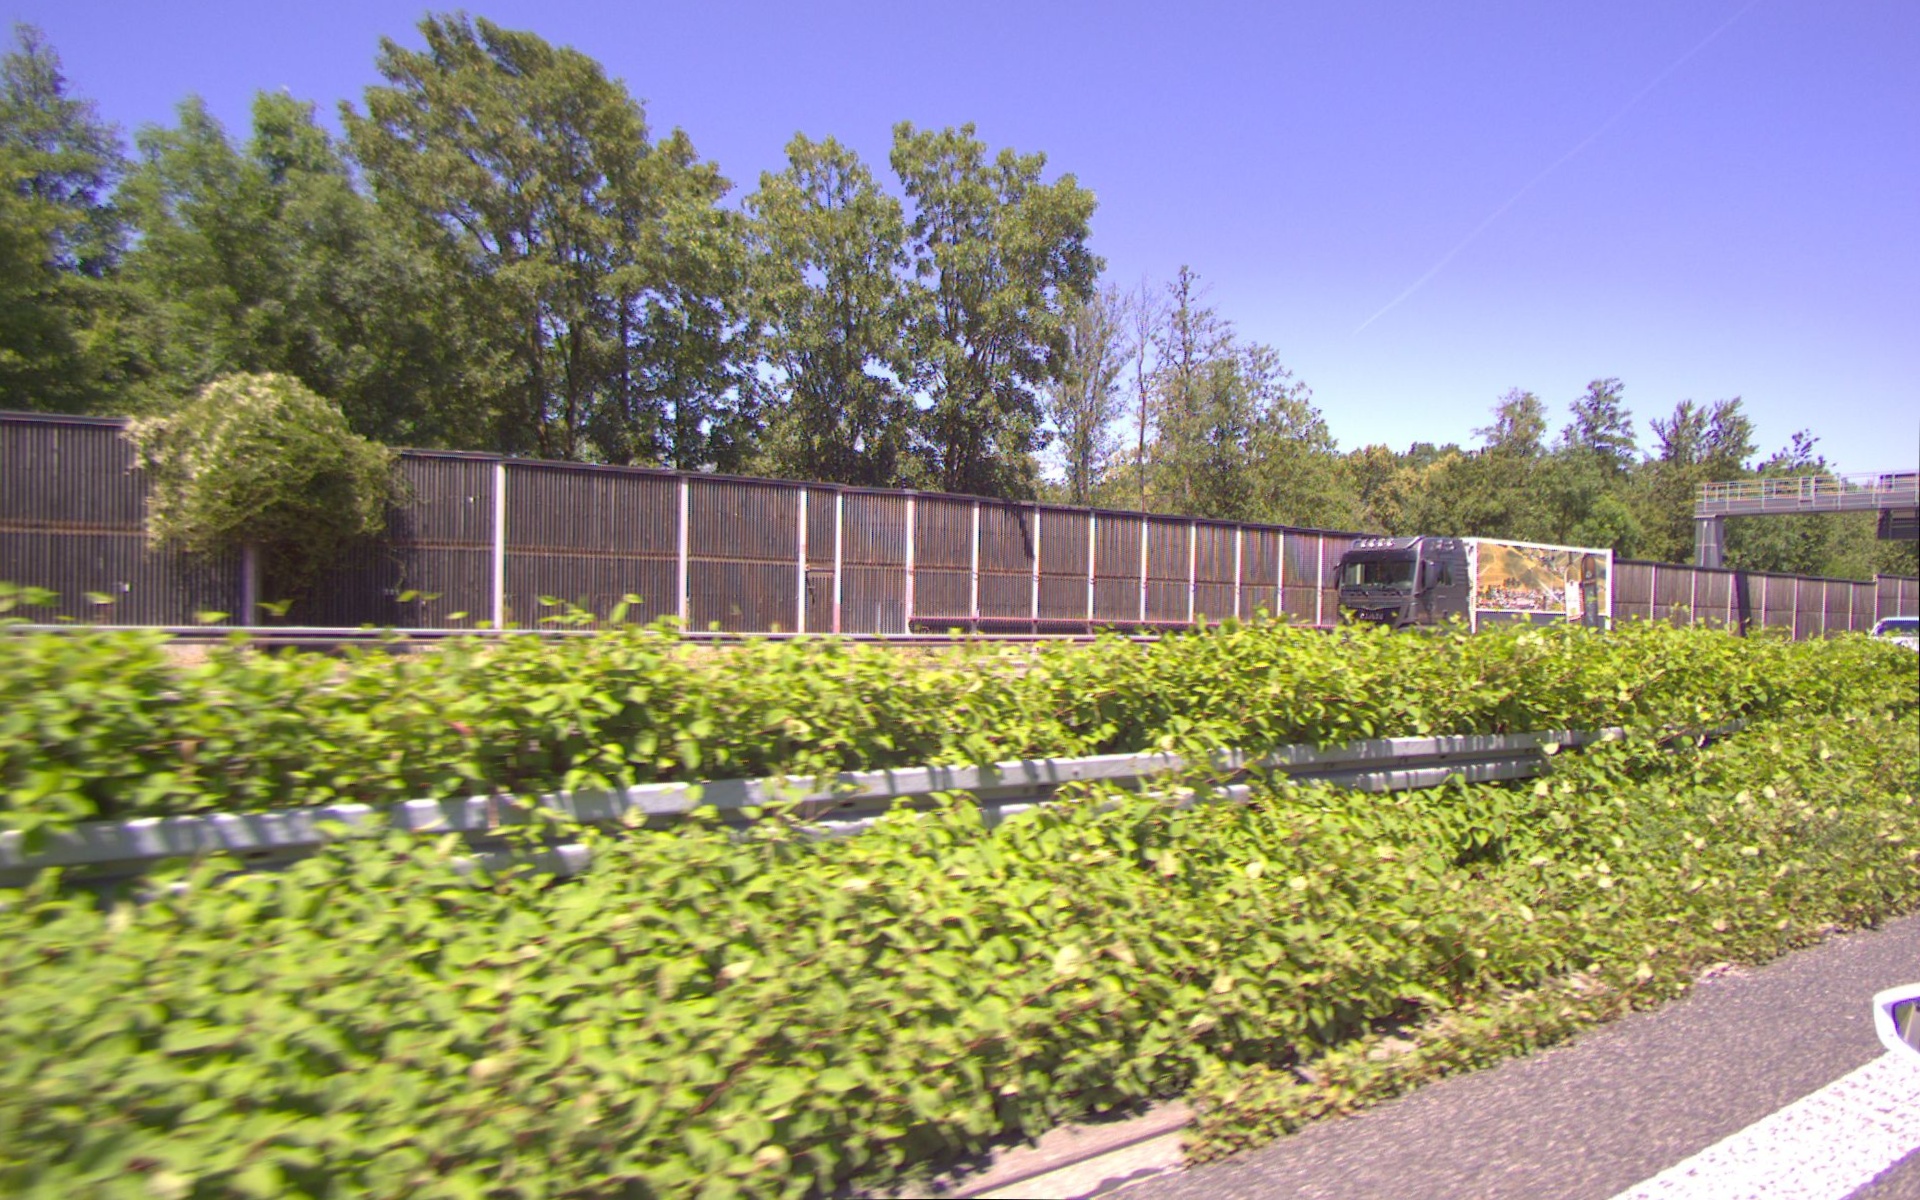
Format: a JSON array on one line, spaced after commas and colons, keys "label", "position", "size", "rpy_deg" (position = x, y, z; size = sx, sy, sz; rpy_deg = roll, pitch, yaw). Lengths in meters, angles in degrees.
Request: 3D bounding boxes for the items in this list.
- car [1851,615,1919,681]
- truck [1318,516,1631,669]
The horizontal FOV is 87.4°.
[{"label": "car", "position": [32.009, 1.582, 33.469], "size": [5.042, 2.040, 1.984], "rpy_deg": [2, 0, -30]}, {"label": "truck", "position": [14.363, -0.060, 27.646], "size": [9.836, 3.653, 2.856], "rpy_deg": [2, 0, -31]}]
